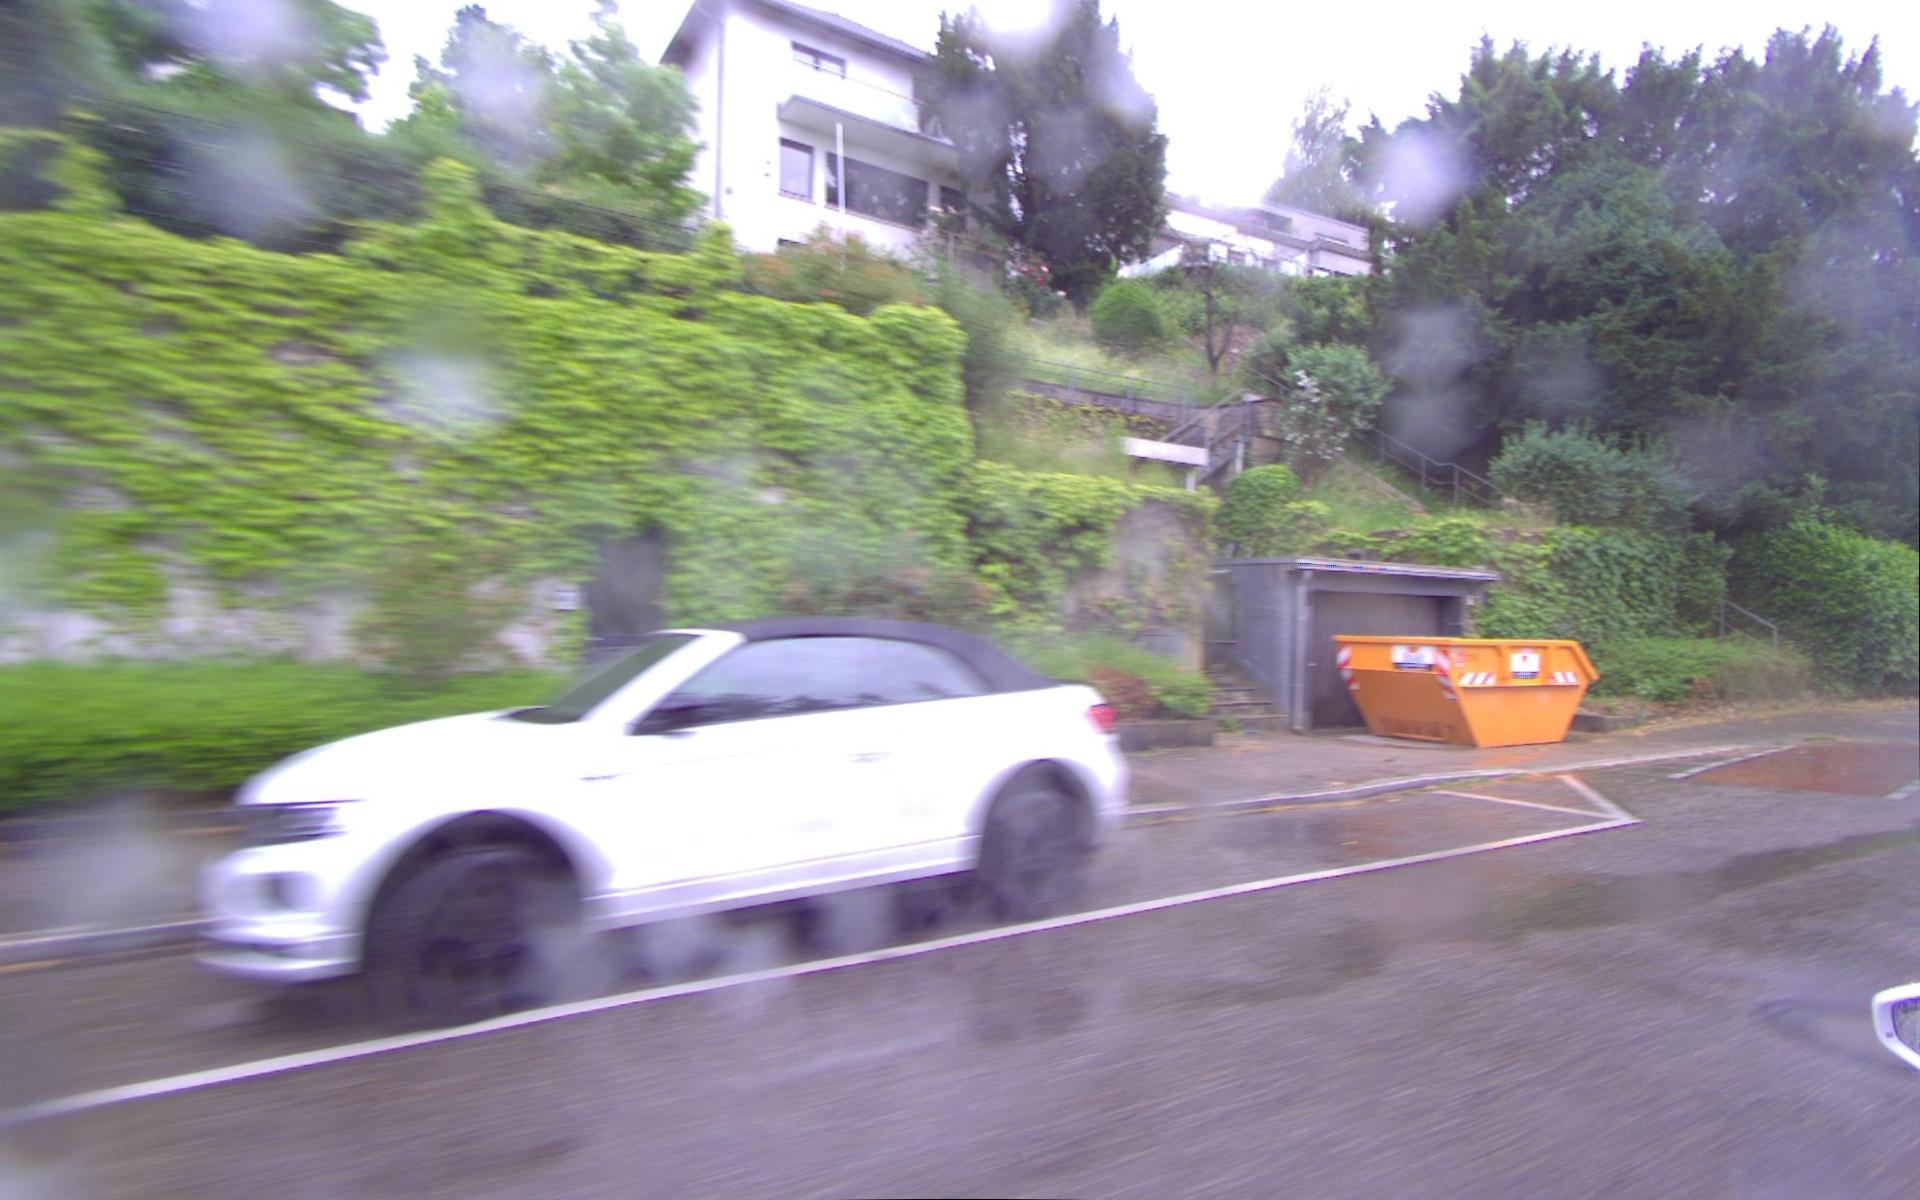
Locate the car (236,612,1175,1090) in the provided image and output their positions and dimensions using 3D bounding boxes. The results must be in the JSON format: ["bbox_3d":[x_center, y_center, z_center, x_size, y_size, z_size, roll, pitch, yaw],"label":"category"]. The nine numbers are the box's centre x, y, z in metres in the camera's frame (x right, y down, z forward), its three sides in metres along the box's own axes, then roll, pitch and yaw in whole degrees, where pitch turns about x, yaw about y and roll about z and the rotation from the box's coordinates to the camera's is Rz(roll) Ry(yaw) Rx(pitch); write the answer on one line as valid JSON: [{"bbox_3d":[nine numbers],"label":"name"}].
[{"bbox_3d":[-1.024,0.876,5.102,4.175,1.517,1.746,2,-2,-33],"label":"car"}]

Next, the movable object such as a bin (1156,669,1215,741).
[{"bbox_3d":[2.755,1.279,12.291,0.543,0.831,0.395,5,-2,-32],"label":"movable object such as a bin"}]
